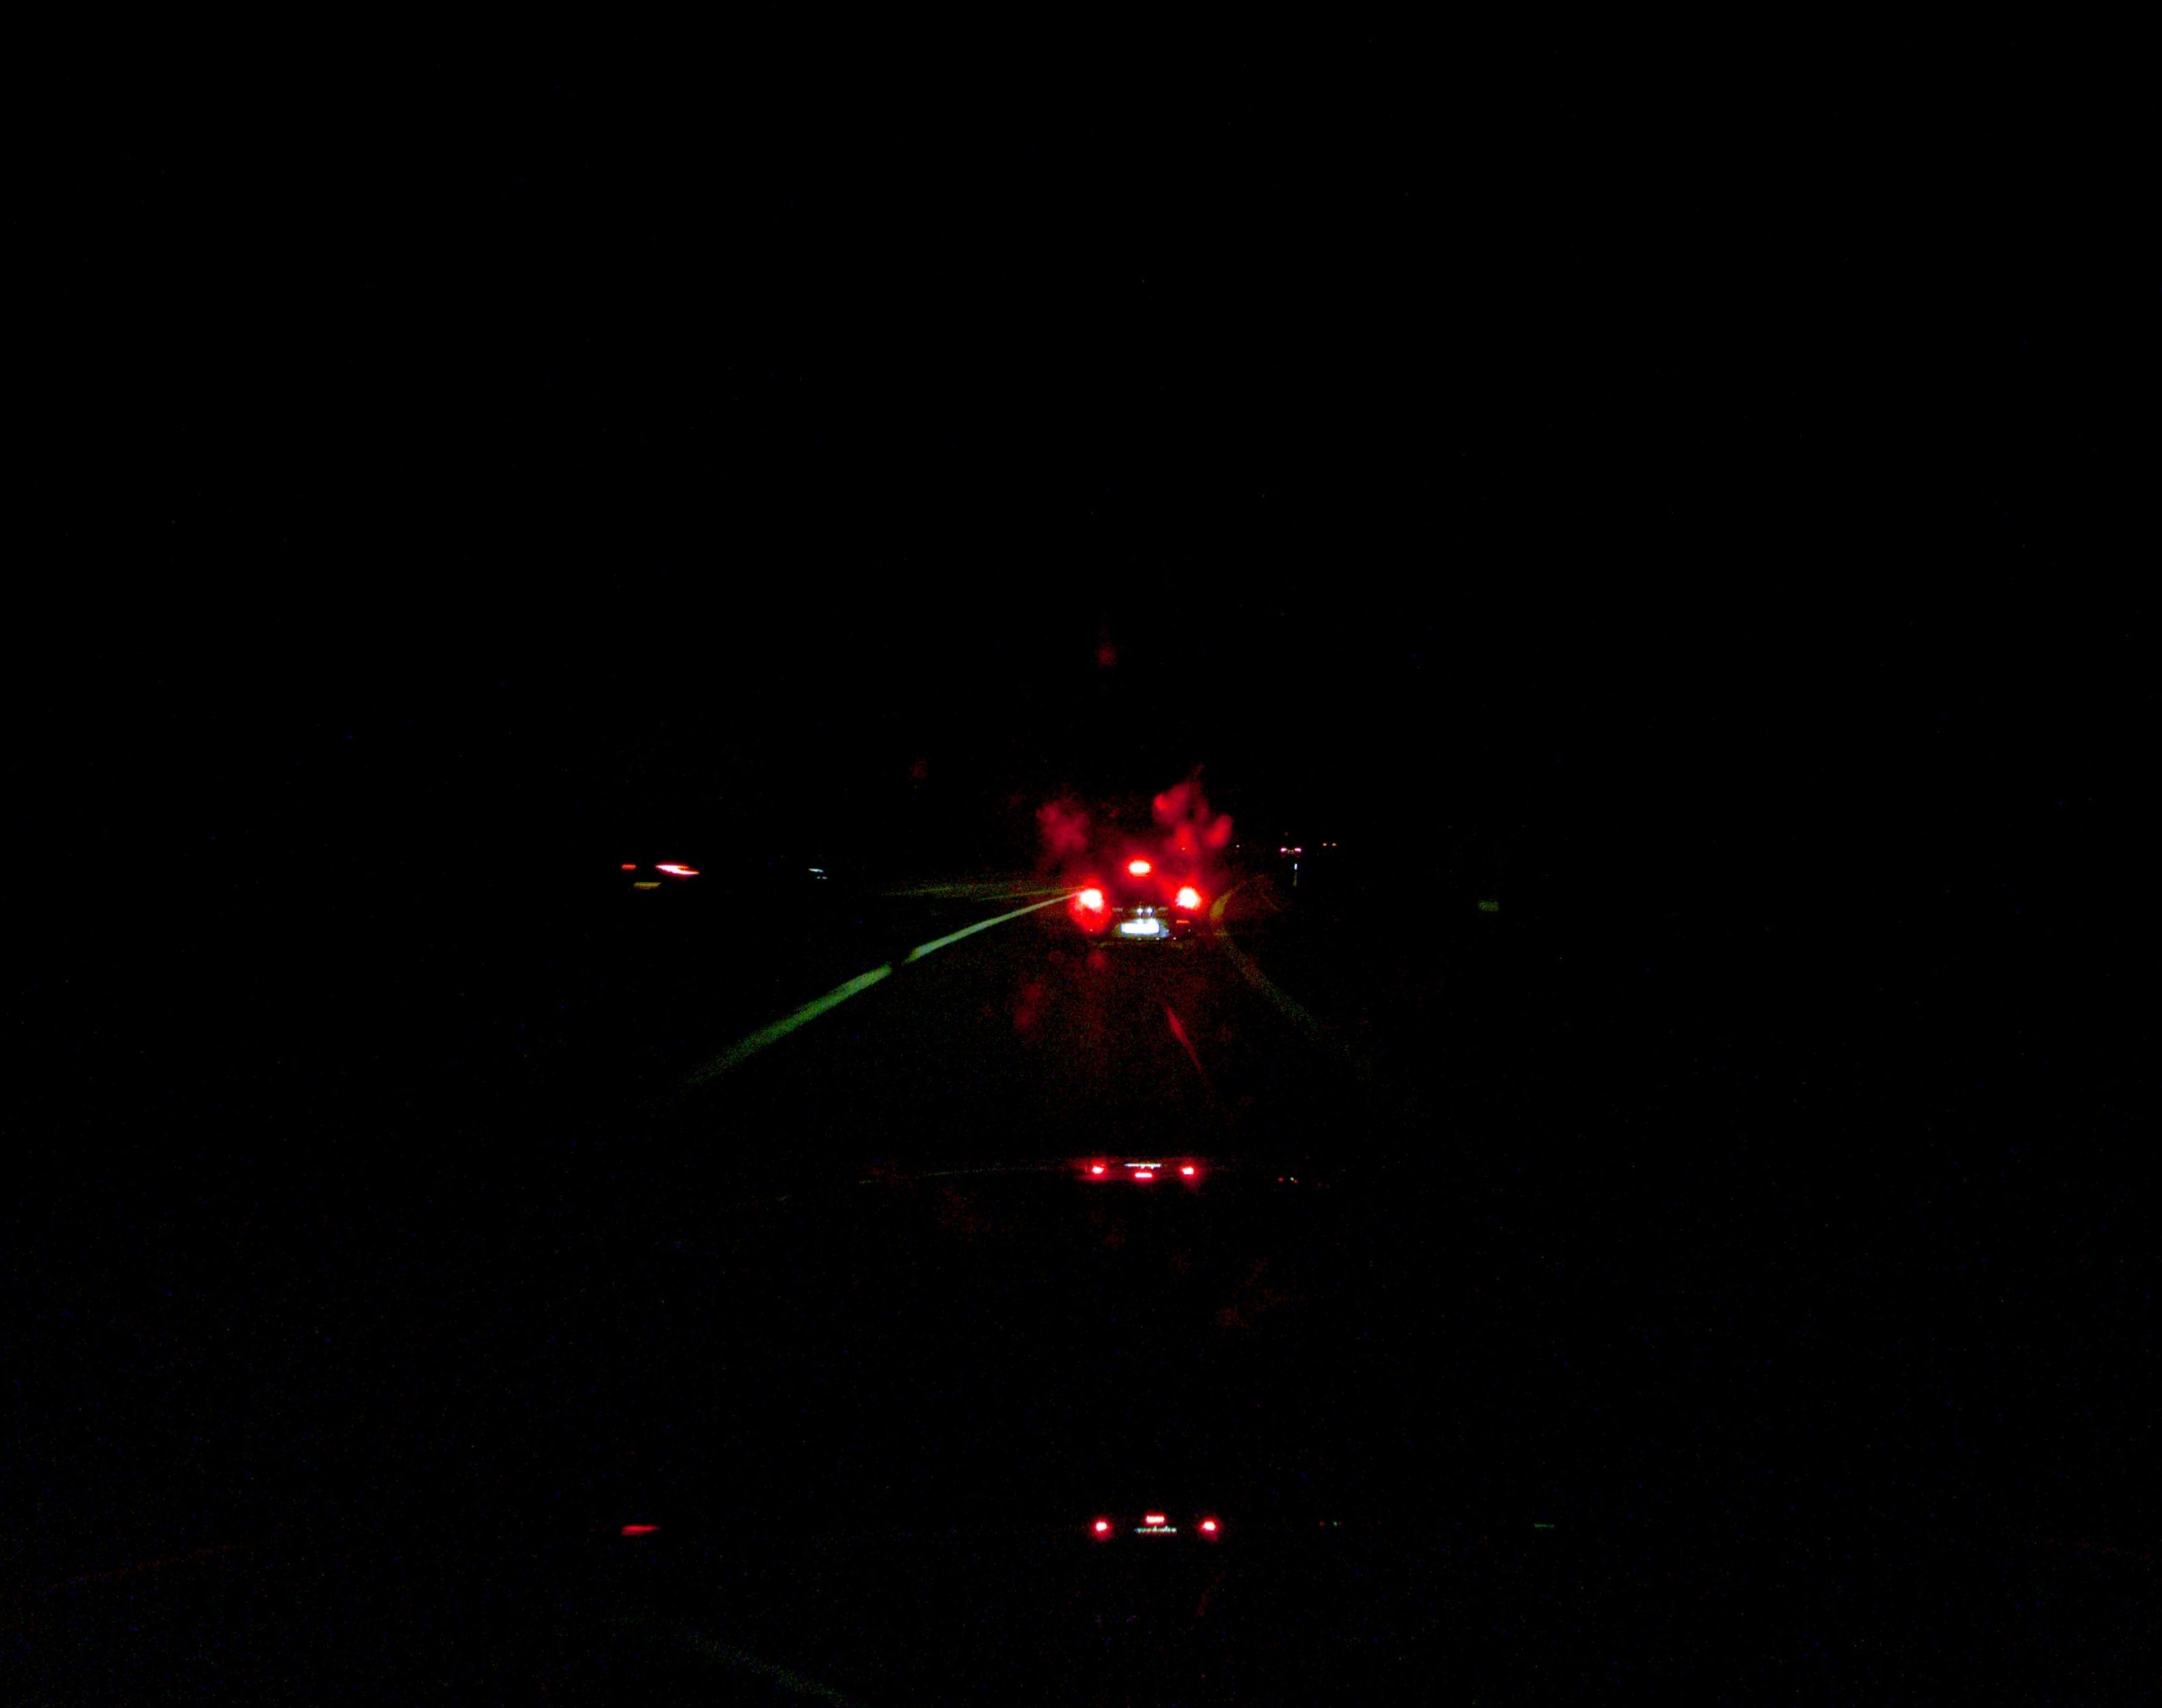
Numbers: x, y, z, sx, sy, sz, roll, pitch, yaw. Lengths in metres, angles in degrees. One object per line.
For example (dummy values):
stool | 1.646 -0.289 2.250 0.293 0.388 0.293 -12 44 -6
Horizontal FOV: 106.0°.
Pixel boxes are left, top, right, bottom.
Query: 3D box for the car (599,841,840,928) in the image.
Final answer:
car | -7.484 0.537 17.470 1.923 1.608 4.669 0 0 22

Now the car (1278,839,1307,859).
car | 18.624 -0.403 71.526 1.934 1.538 4.263 -4 -2 21

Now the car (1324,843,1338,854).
car | 37.668 -0.884 122.560 1.718 1.618 3.819 1 1 21

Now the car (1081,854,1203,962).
car | 0.982 0.759 13.424 1.684 1.478 4.004 1 0 3
